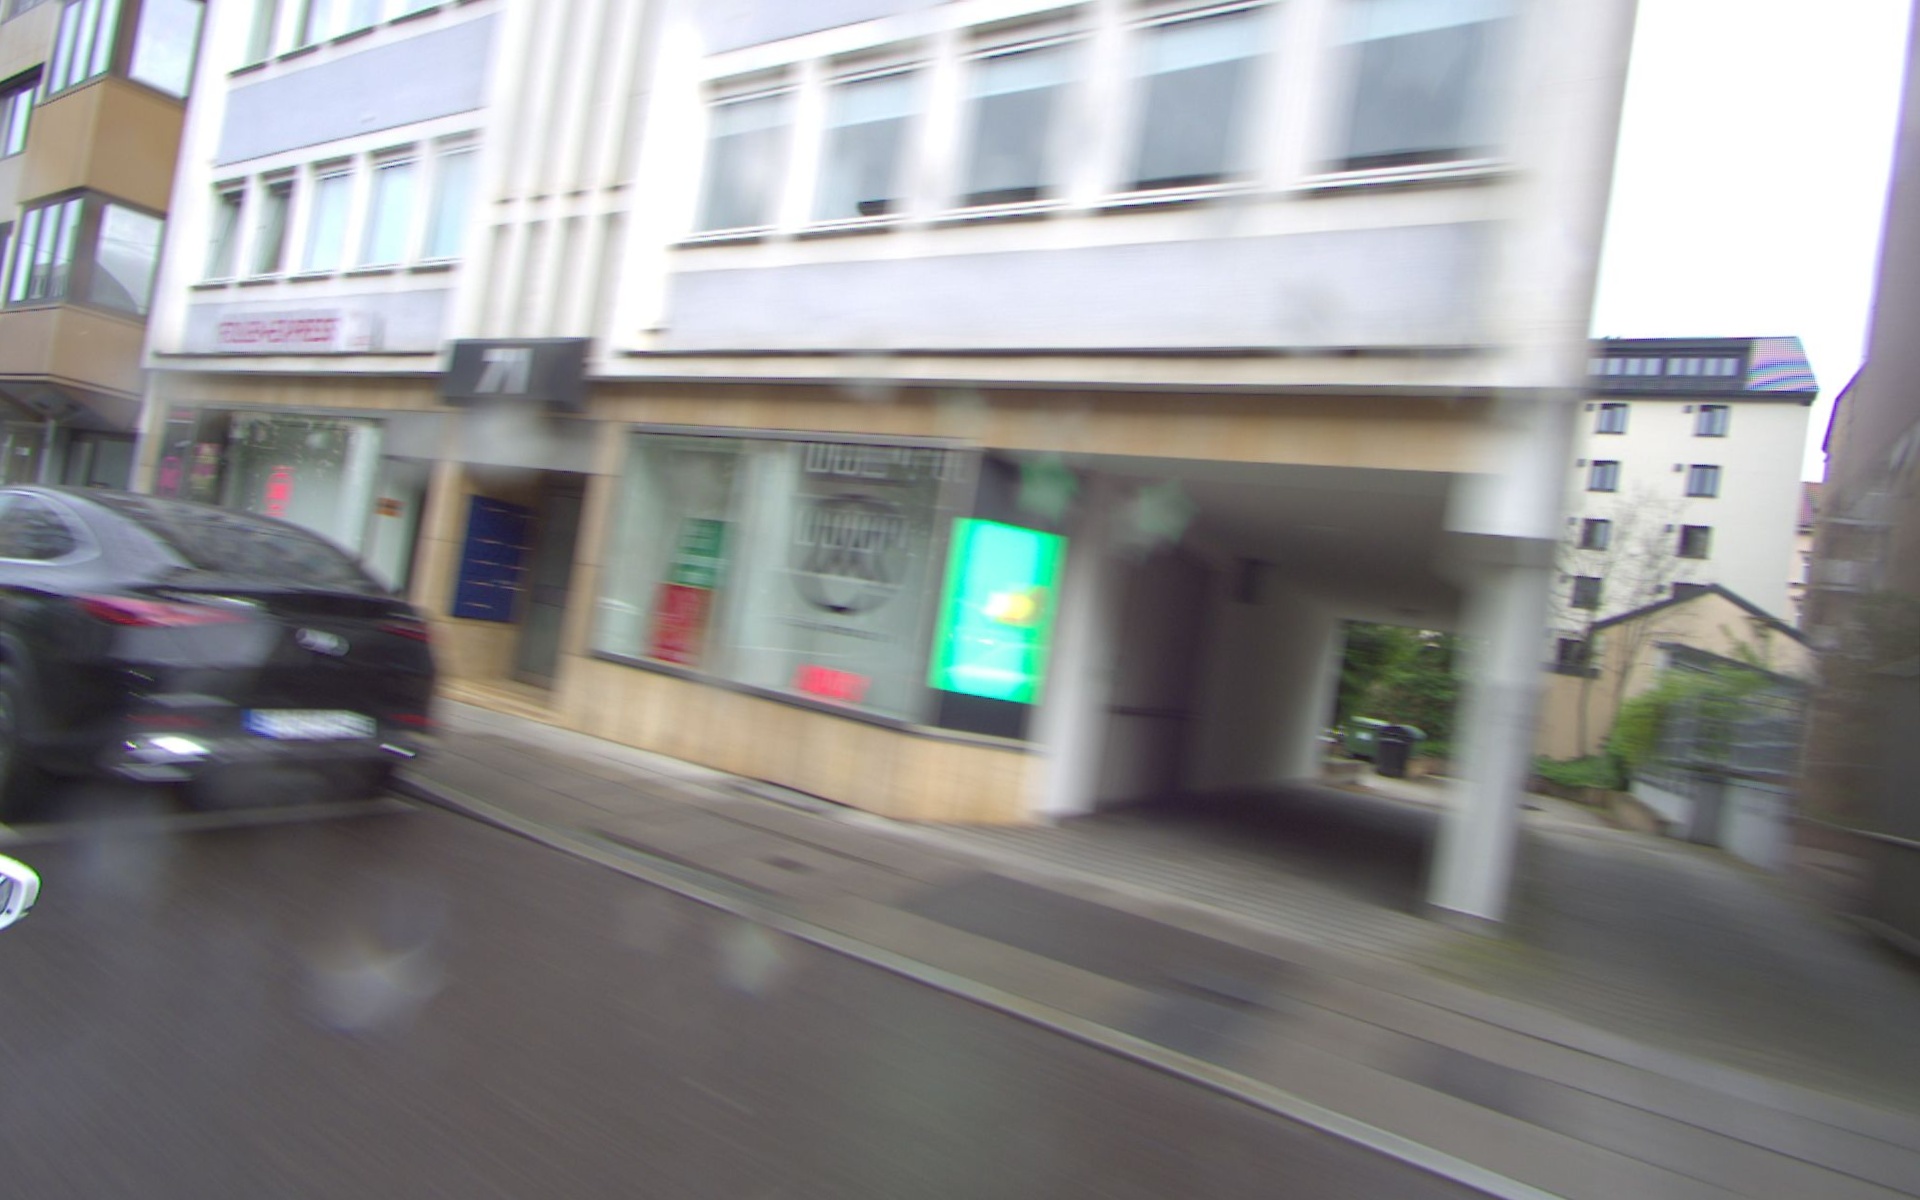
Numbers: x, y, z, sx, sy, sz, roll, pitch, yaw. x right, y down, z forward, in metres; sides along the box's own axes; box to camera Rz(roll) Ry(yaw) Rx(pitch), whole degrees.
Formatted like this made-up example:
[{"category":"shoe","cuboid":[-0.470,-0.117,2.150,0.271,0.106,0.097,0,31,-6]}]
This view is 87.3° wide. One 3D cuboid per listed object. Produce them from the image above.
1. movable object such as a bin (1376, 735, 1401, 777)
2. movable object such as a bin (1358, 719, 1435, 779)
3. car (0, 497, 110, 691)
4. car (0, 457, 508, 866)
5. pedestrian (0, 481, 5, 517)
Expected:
[{"category":"movable object such as a bin","cuboid":[12.139,4.402,28.483,0.515,1.088,0.604,7,-2,24]},{"category":"movable object such as a bin","cuboid":[13.232,4.475,30.372,1.556,1.457,3.515,7,-3,31]},{"category":"car","cuboid":[-9.067,-0.237,8.653,3.507,1.493,1.560,6,-2,32]},{"category":"car","cuboid":[-5.261,0.115,6.192,5.083,1.650,1.811,7,-2,31]},{"category":"pedestrian","cuboid":[-16.785,-1.246,16.891,0.949,1.671,0.697,7,-1,31]}]
